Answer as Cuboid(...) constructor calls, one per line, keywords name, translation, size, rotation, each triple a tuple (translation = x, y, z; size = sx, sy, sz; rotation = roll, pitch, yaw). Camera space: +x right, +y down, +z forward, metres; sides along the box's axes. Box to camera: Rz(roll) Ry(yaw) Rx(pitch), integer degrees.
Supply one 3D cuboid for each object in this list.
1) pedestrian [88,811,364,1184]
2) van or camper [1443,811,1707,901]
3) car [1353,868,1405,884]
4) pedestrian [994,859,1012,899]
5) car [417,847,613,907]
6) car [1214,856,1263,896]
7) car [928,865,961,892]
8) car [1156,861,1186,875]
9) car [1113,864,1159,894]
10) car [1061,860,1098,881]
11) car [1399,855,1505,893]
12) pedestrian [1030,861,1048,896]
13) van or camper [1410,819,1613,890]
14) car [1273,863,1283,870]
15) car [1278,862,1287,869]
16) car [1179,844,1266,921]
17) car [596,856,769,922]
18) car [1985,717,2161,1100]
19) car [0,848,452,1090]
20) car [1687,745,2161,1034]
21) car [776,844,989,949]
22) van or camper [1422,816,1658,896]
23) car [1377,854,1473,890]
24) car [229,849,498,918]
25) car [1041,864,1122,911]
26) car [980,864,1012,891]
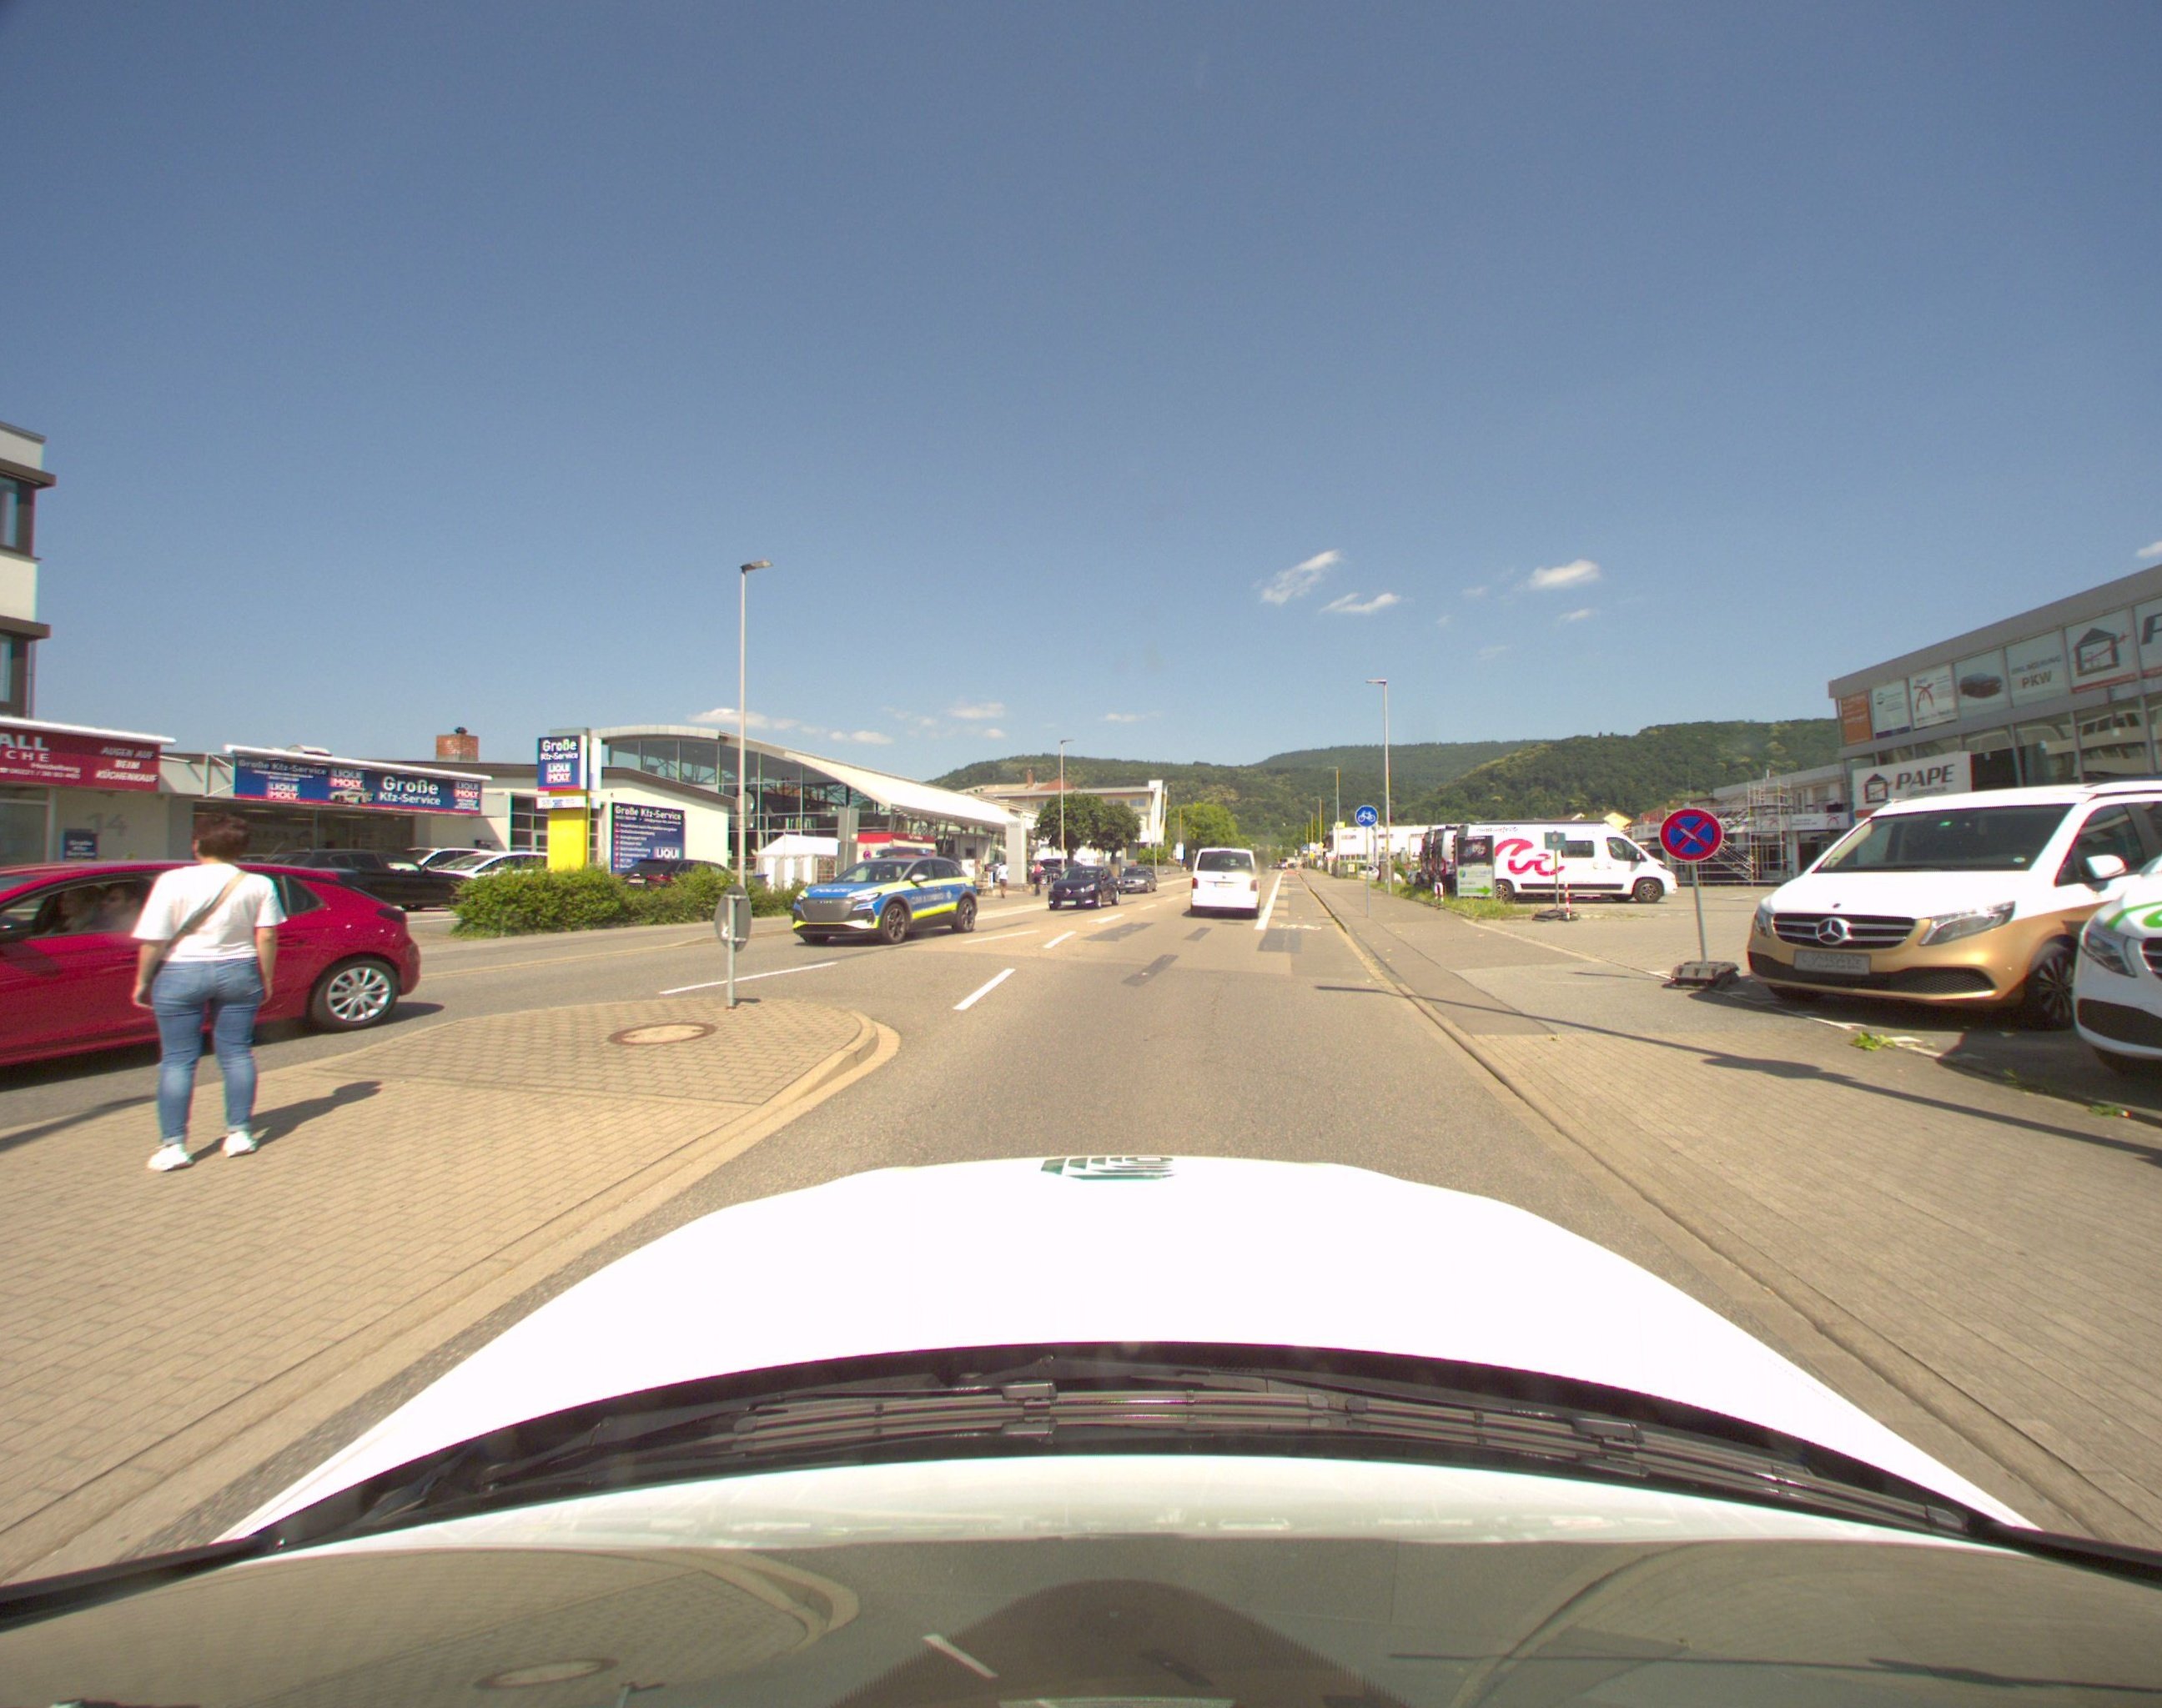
Cuboid(name="pedestrian", translation=(-4.216, 0.639, 4.095), size=(0.763, 1.656, 0.666), rotation=(0, -1, -28))
Cuboid(name="van or camper", translation=(15.067, 0.125, 25.447), size=(6.455, 2.561, 2.986), rotation=(-1, -1, 15))
Cuboid(name="car", translation=(24.357, 1.781, 66.687), size=(1.666, 1.310, 3.664), rotation=(0, -1, -35))
Cuboid(name="pedestrian", translation=(-3.595, 1.142, 37.470), size=(0.757, 1.788, 0.784), rotation=(-1, -1, -2))
Cuboid(name="car", translation=(-17.219, 0.695, 25.145), size=(1.867, 1.589, 4.945), rotation=(-3, -2, 13))
Cuboid(name="car", translation=(7.517, 1.048, 38.582), size=(1.979, 1.708, 4.015), rotation=(2, -2, 15))
Cuboid(name="car", translation=(-8.324, 1.484, 49.868), size=(1.743, 1.585, 3.653), rotation=(-1, -1, -6))
Cuboid(name="car", translation=(13.103, 2.045, 118.577), size=(4.295, 2.014, 2.001), rotation=(-1, -1, 2))
Cuboid(name="car", translation=(2.961, 1.286, 43.081), size=(1.828, 1.464, 4.014), rotation=(-1, -1, 13))
Cuboid(name="car", translation=(-0.148, 1.273, 63.064), size=(1.751, 1.585, 3.637), rotation=(0, -1, -19))
Cuboid(name="car", translation=(17.413, 0.973, 38.457), size=(4.268, 1.752, 1.986), rotation=(-1, -3, 15))
Cuboid(name="pedestrian", translation=(-2.126, 1.235, 41.332), size=(0.756, 1.788, 0.928), rotation=(-1, -1, 2))
Cuboid(name="van or camper", translation=(16.810, 0.072, 32.406), size=(6.556, 2.561, 3.414), rotation=(-1, -1, 15))
Cuboid(name="car", translation=(36.315, 2.283, 150.209), size=(1.706, 1.303, 4.015), rotation=(-1, -1, 14))
Cuboid(name="car", translation=(45.873, 2.588, 185.337), size=(1.979, 1.684, 4.014), rotation=(-1, -1, 13))
Cuboid(name="car", translation=(4.381, 0.769, 24.568), size=(2.147, 2.013, 5.037), rotation=(2, 0, 14))
Cuboid(name="car", translation=(-10.678, 0.877, 22.151), size=(1.978, 1.618, 4.018), rotation=(-1, -1, 17))
Cuboid(name="car", translation=(8.228, 0.215, 4.713), size=(5.144, 2.014, 1.920), rotation=(-2, -1, -16))
Cuboid(name="car", translation=(-7.252, 0.719, 5.720), size=(1.826, 1.464, 4.162), rotation=(-1, -1, 18))
Cuboid(name="car", translation=(8.661, 0.280, 7.621), size=(5.152, 2.095, 2.038), rotation=(0, -3, -16))
Cuboid(name="car", translation=(-3.664, 0.736, 15.975), size=(1.893, 1.760, 4.473), rotation=(-1, -1, 19))
Cuboid(name="van or camper", translation=(15.839, 0.133, 28.807), size=(6.556, 2.561, 3.767), rotation=(-1, -1, 15))
Cuboid(name="car", translation=(17.418, 0.938, 41.507), size=(4.268, 1.752, 1.986), rotation=(-1, -3, 15))
Cuboid(name="car", translation=(-16.490, 0.649, 19.077), size=(2.012, 1.427, 4.332), rotation=(-1, -1, 13))
Cuboid(name="car", translation=(0.094, 1.093, 27.810), size=(1.828, 1.464, 4.015), rotation=(-1, -1, 13))
Cuboid(name="car", translation=(-5.353, 1.460, 51.082), size=(1.745, 1.585, 3.648), rotation=(0, -1, -10))
